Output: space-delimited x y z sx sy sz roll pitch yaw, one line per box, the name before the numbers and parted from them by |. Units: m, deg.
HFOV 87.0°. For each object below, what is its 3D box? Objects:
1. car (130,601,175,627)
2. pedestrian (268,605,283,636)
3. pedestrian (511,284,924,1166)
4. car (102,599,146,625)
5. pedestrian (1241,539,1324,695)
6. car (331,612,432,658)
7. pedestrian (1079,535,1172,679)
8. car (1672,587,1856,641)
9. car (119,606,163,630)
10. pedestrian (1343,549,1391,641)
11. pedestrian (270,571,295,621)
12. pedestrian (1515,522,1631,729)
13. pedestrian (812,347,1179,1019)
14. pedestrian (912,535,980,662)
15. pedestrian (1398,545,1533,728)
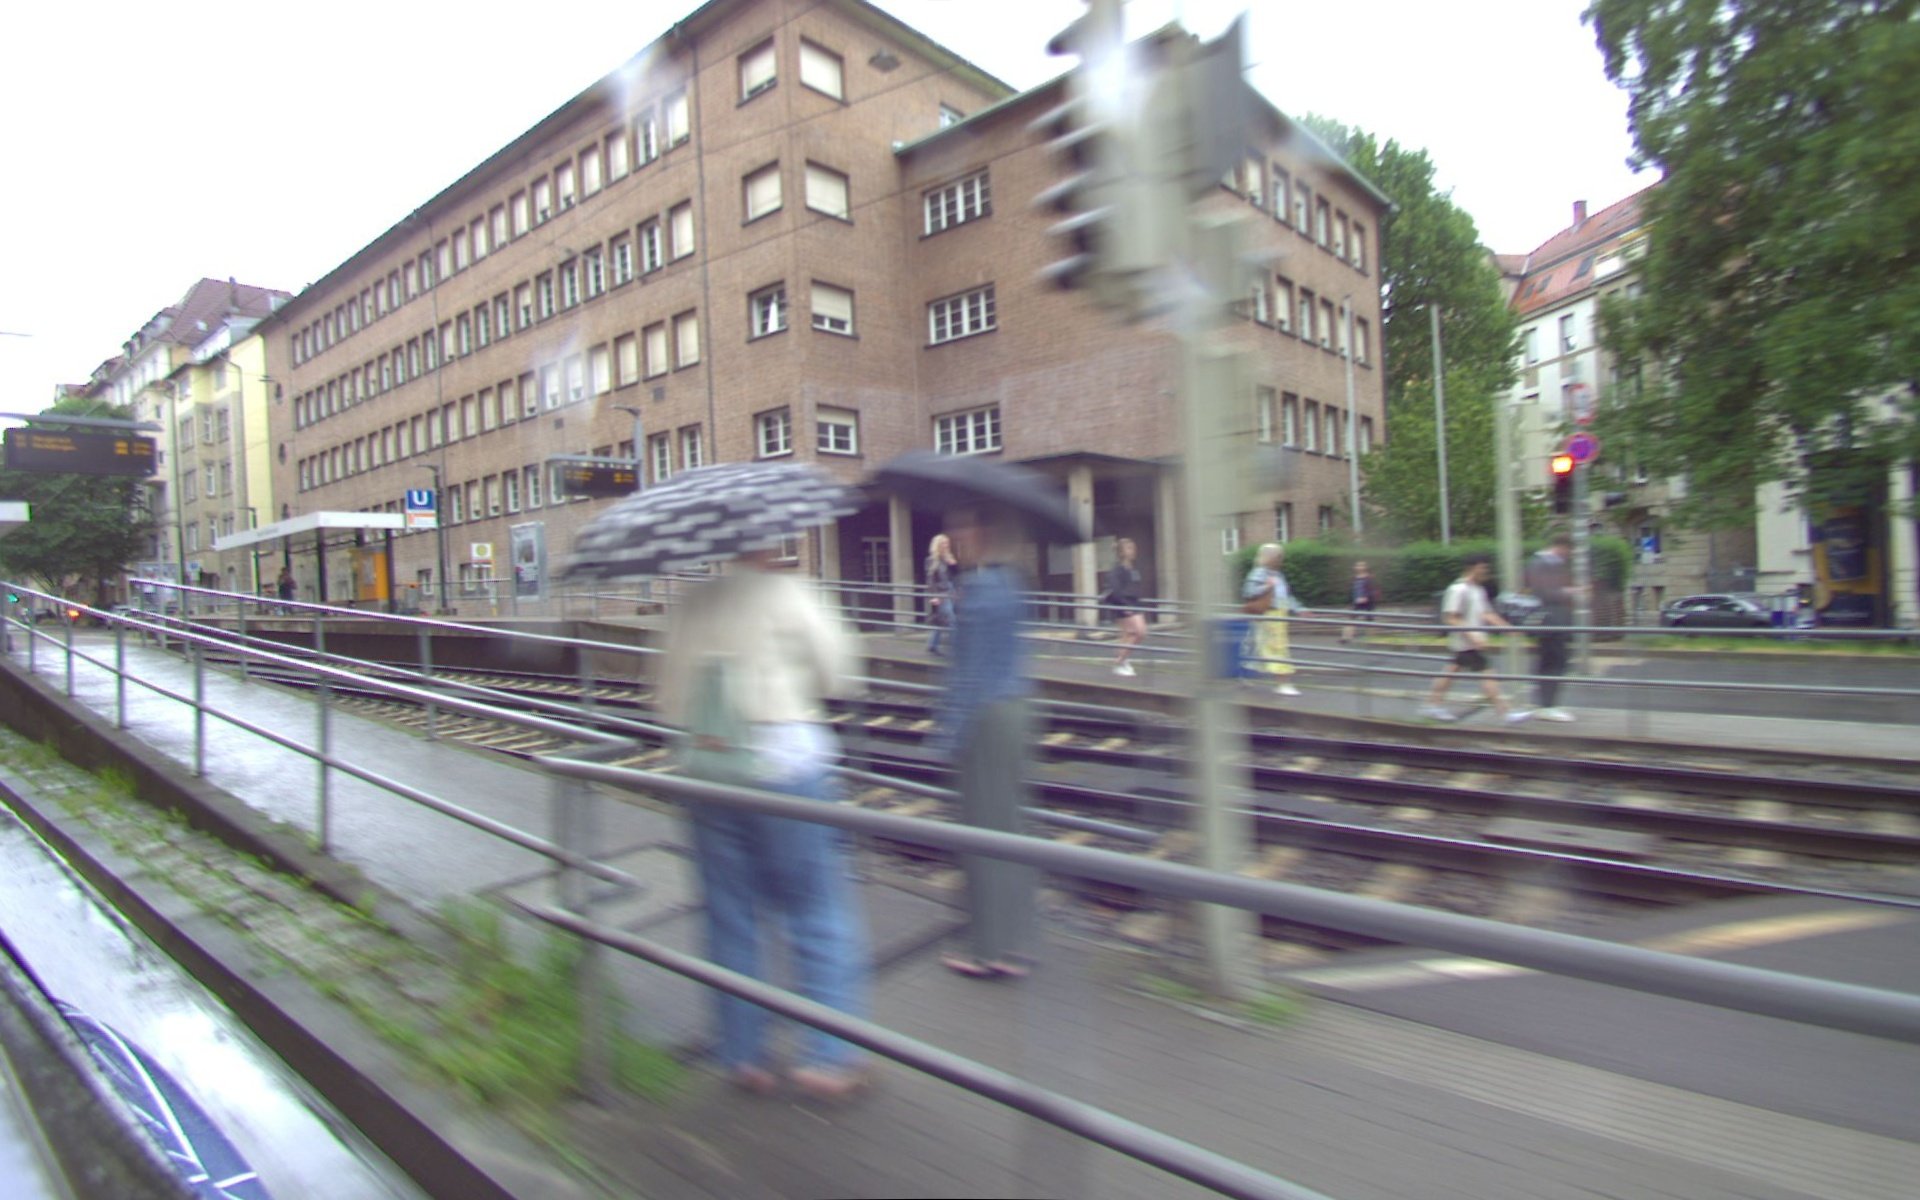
car | -48.804 0.837 61.170 3.111 1.477 1.627 -1 1 43
pedestrian | -37.427 1.130 55.310 0.542 1.666 0.543 -1 0 42
pedestrian | -0.702 0.273 2.910 0.913 2.029 0.950 -2 1 -17
car | -54.997 0.810 66.583 4.338 1.592 1.627 -1 1 43
pedestrian | 3.584 0.161 11.242 0.640 1.659 0.736 2 2 41
car | -20.678 1.219 36.087 4.761 1.508 1.627 -1 0 41
pedestrian | 2.053 0.057 12.573 0.882 1.708 0.736 2 3 40
car | 22.849 0.379 28.979 1.715 1.413 4.007 -1 0 -8
car | -51.480 1.136 63.578 3.632 1.414 1.627 -1 1 43
pedestrian | 7.632 -0.087 18.981 0.688 1.688 0.598 -1 -1 38
pedestrian | -23.241 -0.131 34.716 0.491 1.722 0.581 -1 -1 40
pedestrian | 5.691 0.223 9.399 0.799 1.832 0.505 -2 1 41
pedestrian | 0.137 0.245 3.701 0.947 2.029 0.888 -1 1 41
pedestrian | -0.193 -0.047 14.089 0.688 1.711 0.658 2 5 38
pedestrian | 4.686 0.310 9.384 0.956 1.594 0.686 -1 1 41
